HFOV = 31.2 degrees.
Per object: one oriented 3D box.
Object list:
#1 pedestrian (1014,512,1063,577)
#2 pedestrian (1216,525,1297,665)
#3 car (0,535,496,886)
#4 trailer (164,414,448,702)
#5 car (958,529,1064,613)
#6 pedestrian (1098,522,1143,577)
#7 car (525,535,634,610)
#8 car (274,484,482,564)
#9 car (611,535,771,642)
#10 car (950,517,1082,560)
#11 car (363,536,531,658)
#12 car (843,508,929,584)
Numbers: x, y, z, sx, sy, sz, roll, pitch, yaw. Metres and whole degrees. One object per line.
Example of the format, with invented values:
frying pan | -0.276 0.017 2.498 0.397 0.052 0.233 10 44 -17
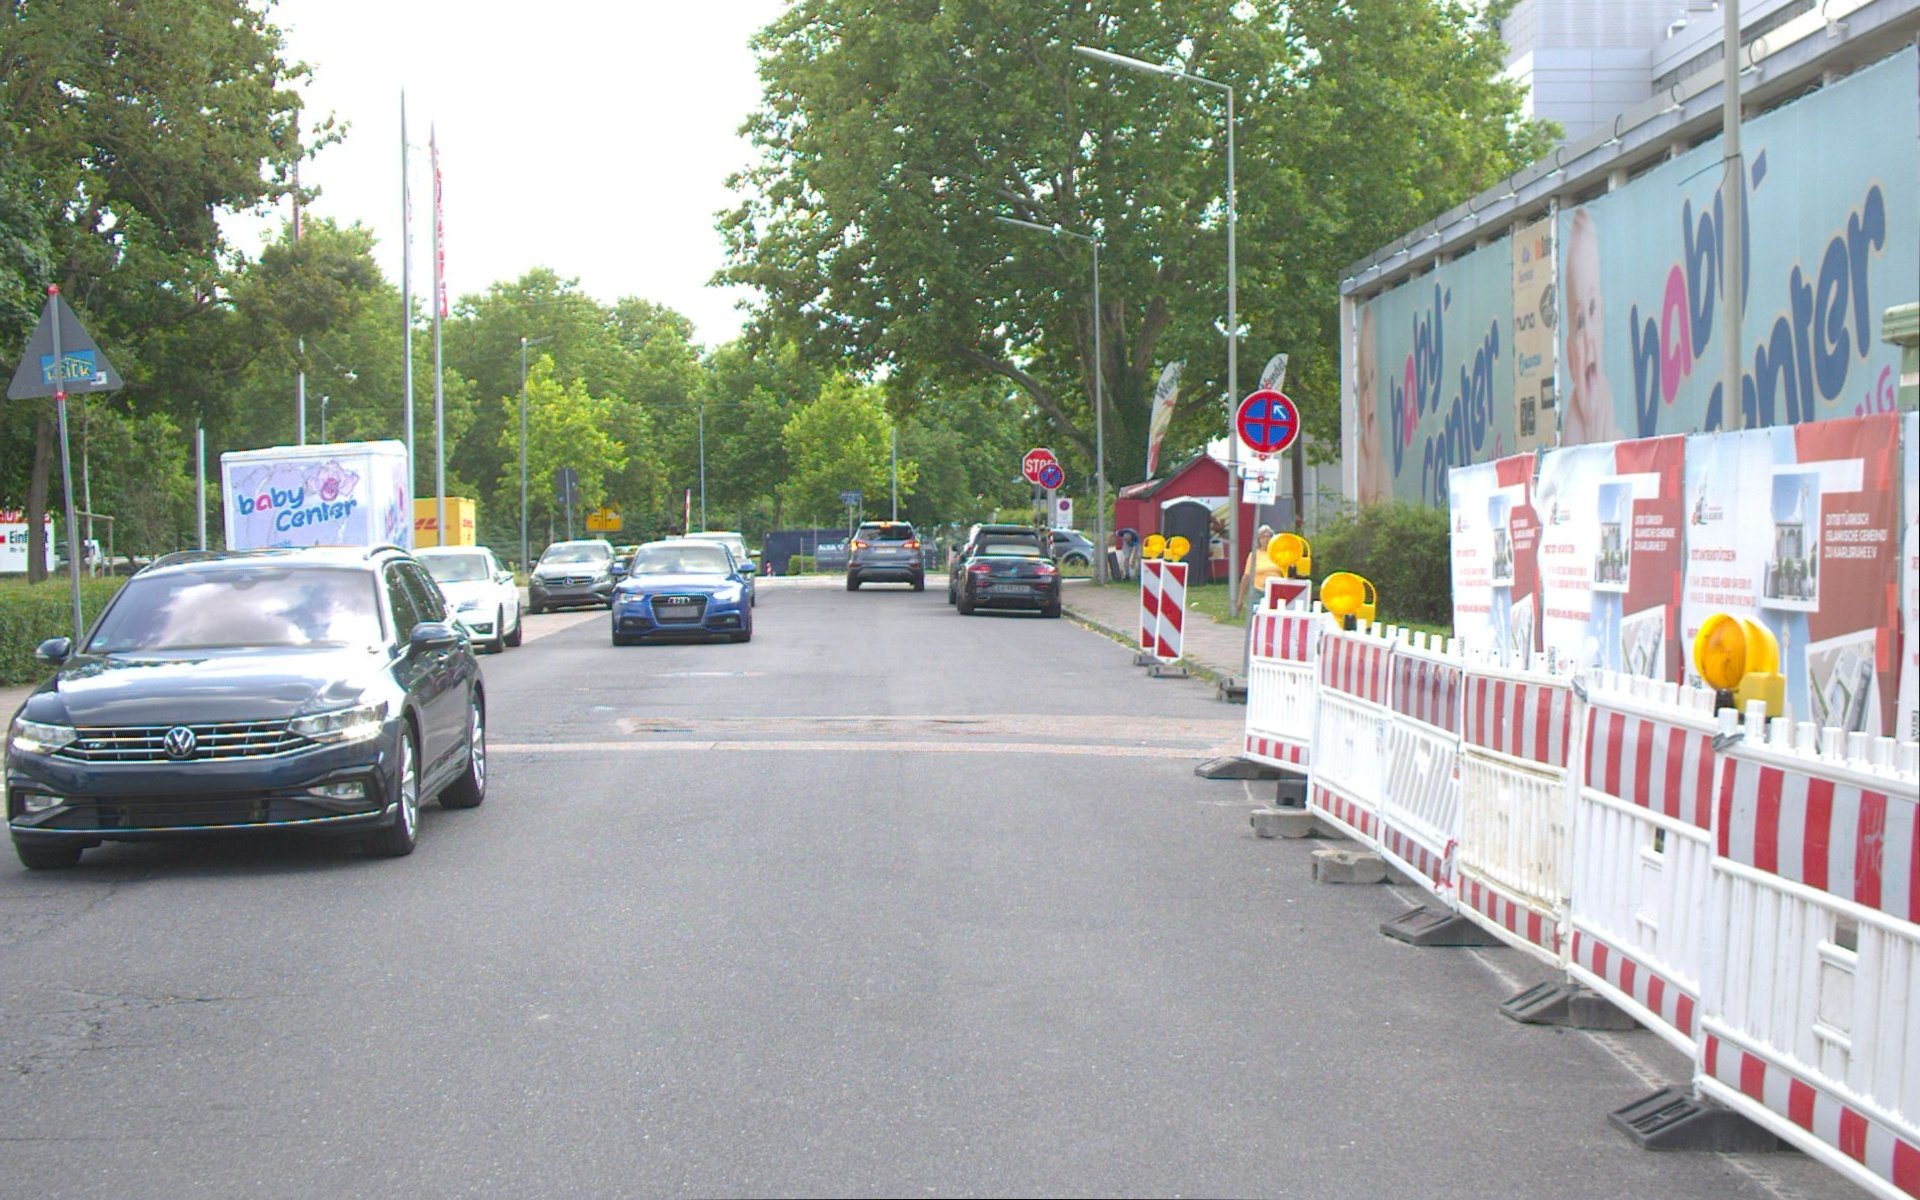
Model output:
pedestrian | 2.217 -1.570 97.158 1.000 1.843 1.230 -1 1 -19
pedestrian | 3.286 -0.067 38.205 0.681 1.528 1.130 0 1 -6
car | -3.491 0.445 17.259 1.796 1.454 4.385 -2 2 -1
trailer | -6.868 -0.474 36.643 2.139 2.773 4.704 -3 1 -2
car | 0.890 -0.548 62.407 1.808 1.386 4.588 2 1 0
pedestrian | 3.904 -1.231 83.660 1.014 1.309 0.964 0 1 7
car | -7.895 -0.592 71.603 1.709 1.415 4.331 -3 1 0
car | -19.167 -2.500 113.310 6.384 2.569 2.206 0 2 6
car | -3.664 -0.196 47.507 1.923 1.372 4.380 -1 1 -1
car | 1.844 -2.044 113.958 4.219 1.401 1.924 -1 1 -3
car | -6.988 -0.077 47.180 1.765 1.474 4.236 -3 1 -2
car | -1.849 -1.345 84.712 1.962 1.809 4.276 -1 1 -3
